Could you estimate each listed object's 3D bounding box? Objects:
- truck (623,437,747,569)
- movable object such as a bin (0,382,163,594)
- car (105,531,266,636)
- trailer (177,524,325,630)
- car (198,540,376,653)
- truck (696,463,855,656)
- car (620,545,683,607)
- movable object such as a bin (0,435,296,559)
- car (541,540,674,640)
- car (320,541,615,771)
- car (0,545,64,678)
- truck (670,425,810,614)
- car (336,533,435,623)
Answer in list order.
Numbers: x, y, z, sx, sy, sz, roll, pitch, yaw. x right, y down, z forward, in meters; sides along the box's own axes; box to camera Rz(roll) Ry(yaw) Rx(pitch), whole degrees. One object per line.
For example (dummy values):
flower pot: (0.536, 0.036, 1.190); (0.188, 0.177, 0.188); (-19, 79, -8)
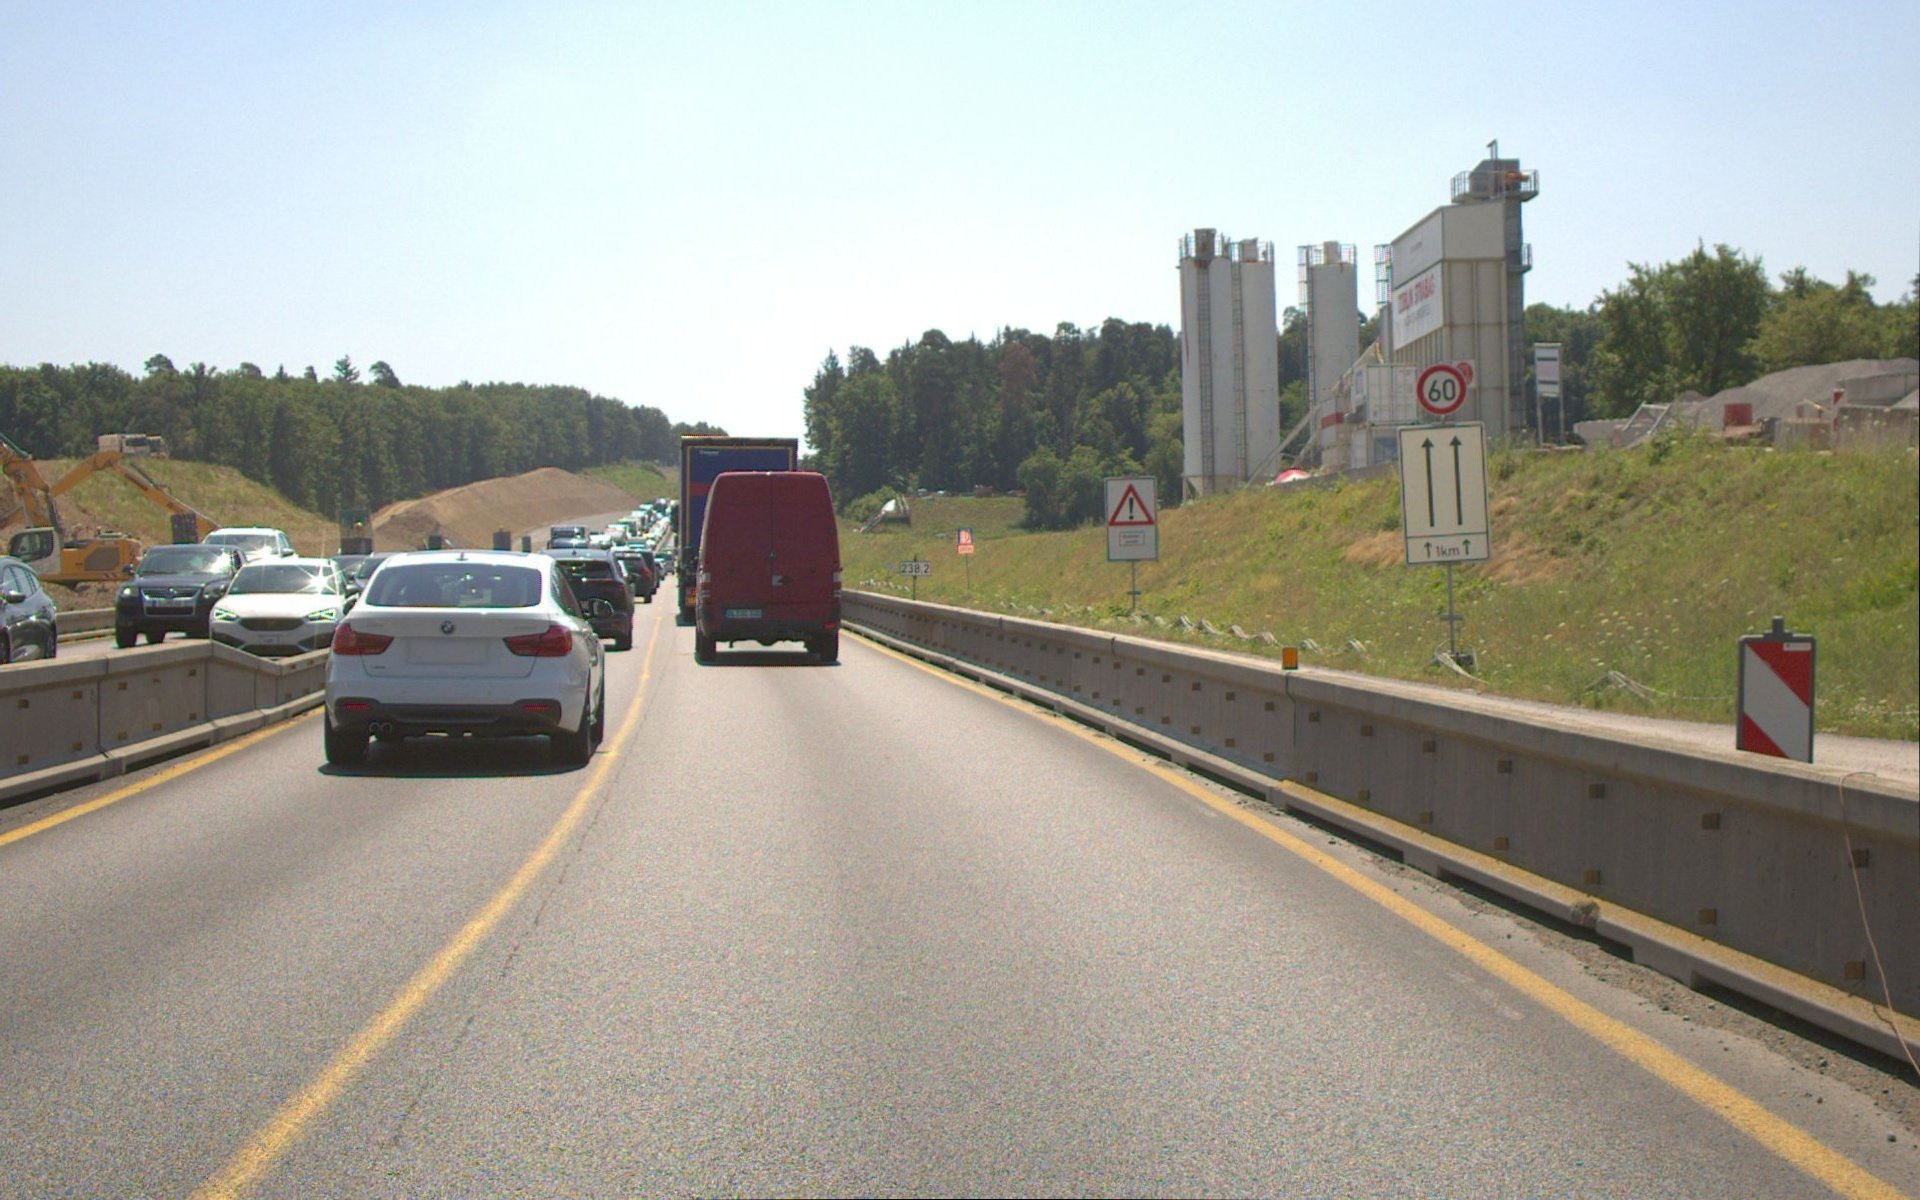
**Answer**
truck: (-10.054, -3.526, 126.929); (3.683, 4.675, 9.753); (-1, 1, 0)
movable object such as a bin: (-33.795, -4.121, 127.570); (7.636, 7.687, 3.446); (-1, 1, -3)
car: (-12.843, -0.297, 57.274); (1.923, 1.673, 4.718); (0, 1, -4)
trailer: (-13.709, -0.486, 66.707); (2.130, 1.975, 5.235); (0, 1, -4)
car: (-9.170, -0.085, 47.138); (1.815, 1.450, 4.635); (-1, 1, -4)
truck: (-2.778, -0.611, 50.341); (2.111, 2.624, 6.485); (-1, 1, -5)
car: (-10.163, -0.810, 113.509); (1.993, 2.007, 4.001); (-1, 1, -4)
movable object such as a bin: (-49.427, -6.159, 205.859); (18.708, 7.206, 3.616); (-1, 1, -6)
car: (-5.633, -0.183, 55.290); (1.795, 1.529, 3.931); (-1, 1, -1)
car: (-3.547, 0.339, 25.535); (1.795, 1.529, 5.074); (0, 1, -4)
car: (-11.329, 0.104, 38.406); (1.821, 1.418, 4.648); (-1, 1, -6)
truck: (-5.108, -1.839, 79.652); (3.015, 4.138, 8.273); (-1, 1, -4)
car: (-10.486, -0.426, 62.944); (1.693, 1.574, 4.135); (-1, 1, -8)
